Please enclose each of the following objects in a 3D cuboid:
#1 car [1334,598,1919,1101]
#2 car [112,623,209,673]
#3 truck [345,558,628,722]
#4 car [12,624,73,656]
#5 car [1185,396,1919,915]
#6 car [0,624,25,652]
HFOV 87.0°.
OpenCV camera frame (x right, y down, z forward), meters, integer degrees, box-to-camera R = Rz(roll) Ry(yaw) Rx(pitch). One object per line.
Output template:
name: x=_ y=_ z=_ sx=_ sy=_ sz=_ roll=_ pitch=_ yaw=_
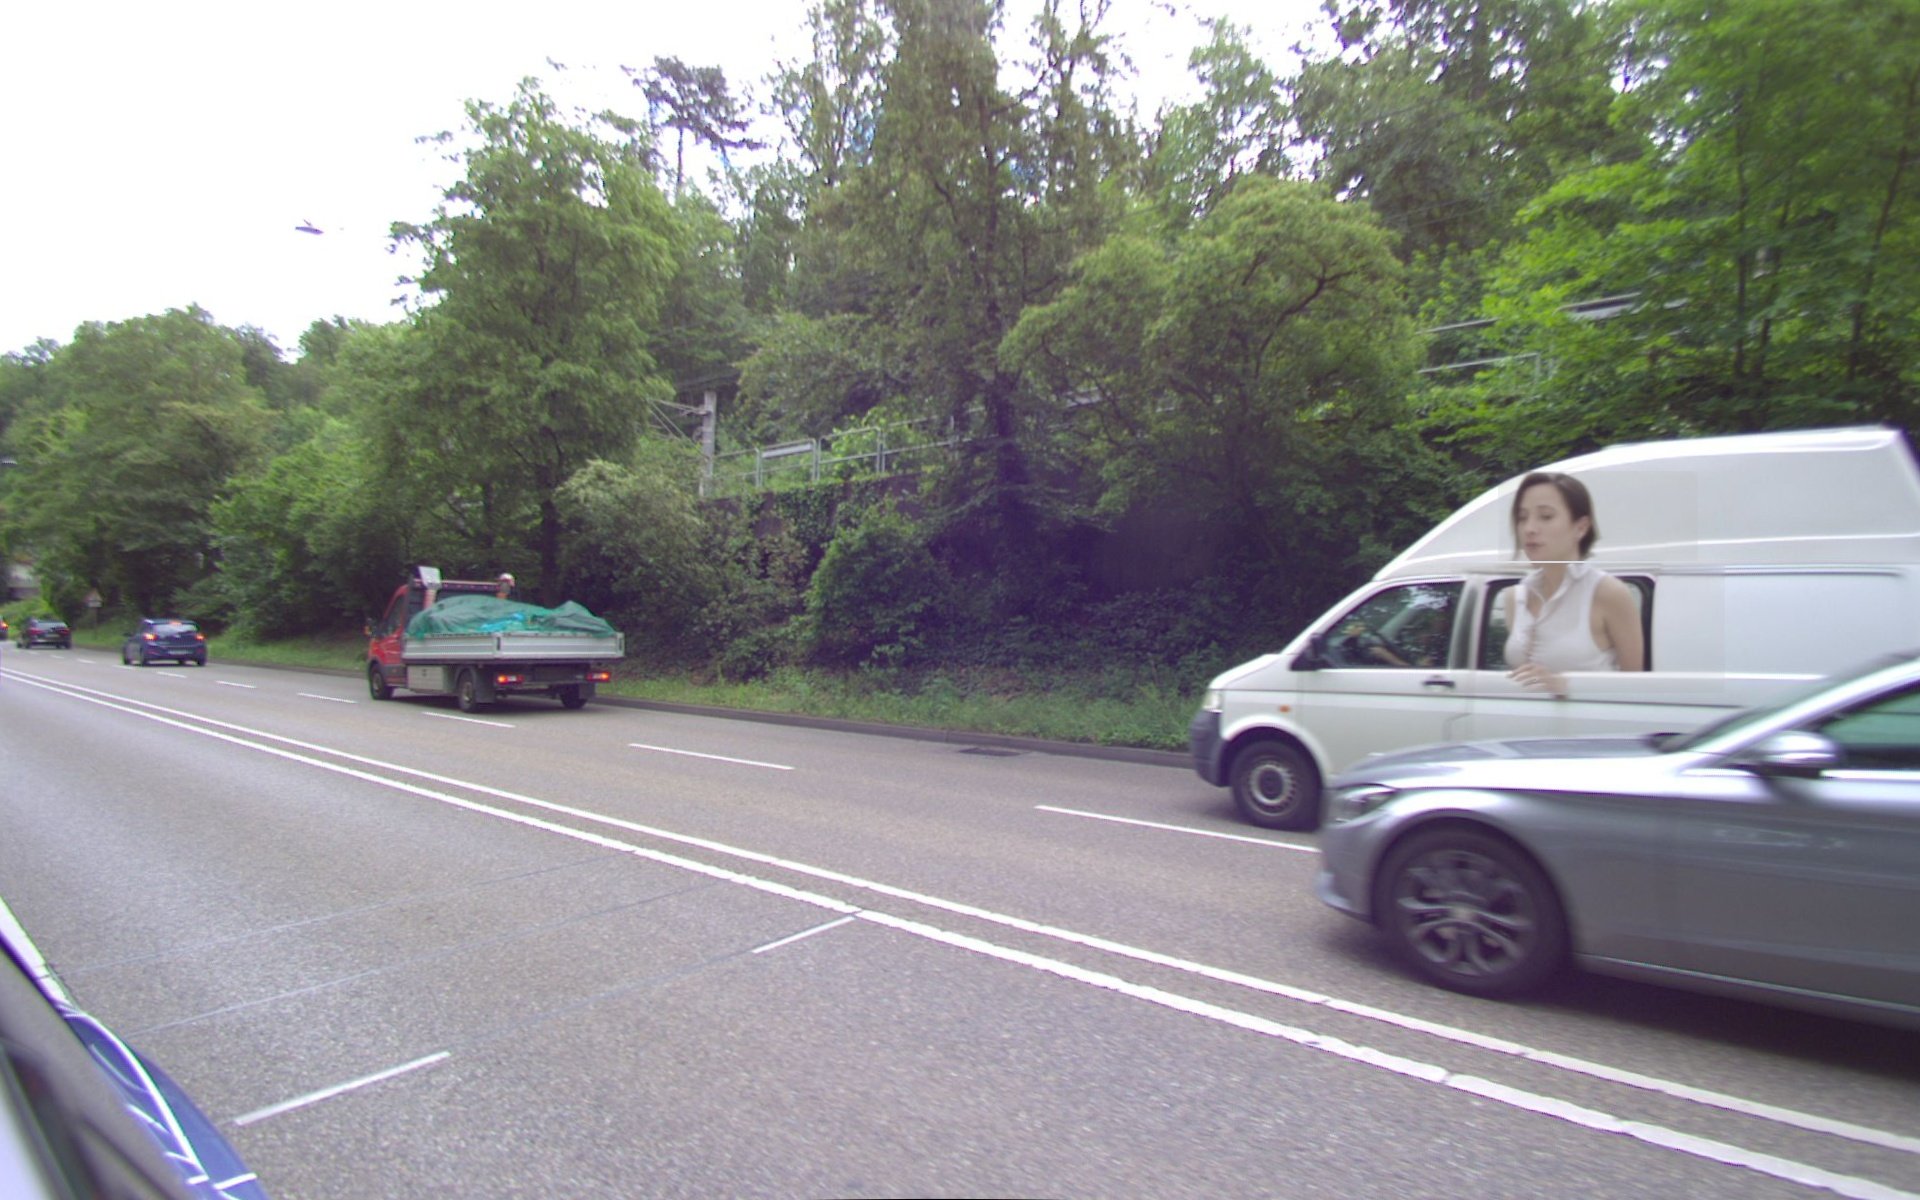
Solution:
car: x=3.804 y=0.780 z=3.364 sx=4.463 sy=1.477 sz=1.820 roll=-1 pitch=-4 yaw=41
car: x=-25.980 y=1.534 z=32.840 sx=3.997 sy=1.497 sz=1.653 roll=-1 pitch=-2 yaw=40
truck: x=-8.600 y=0.675 z=18.003 sx=6.464 sy=2.429 sz=2.153 roll=-1 pitch=-4 yaw=42
car: x=-45.952 y=1.987 z=50.658 sx=4.431 sy=1.522 sz=1.714 roll=-1 pitch=-2 yaw=41
car: x=4.187 y=0.340 z=6.762 sx=4.913 sy=2.575 sz=1.867 roll=-1 pitch=-5 yaw=41
car: x=-64.152 y=2.550 z=67.865 sx=4.133 sy=1.786 sz=1.641 roll=-1 pitch=-3 yaw=41
